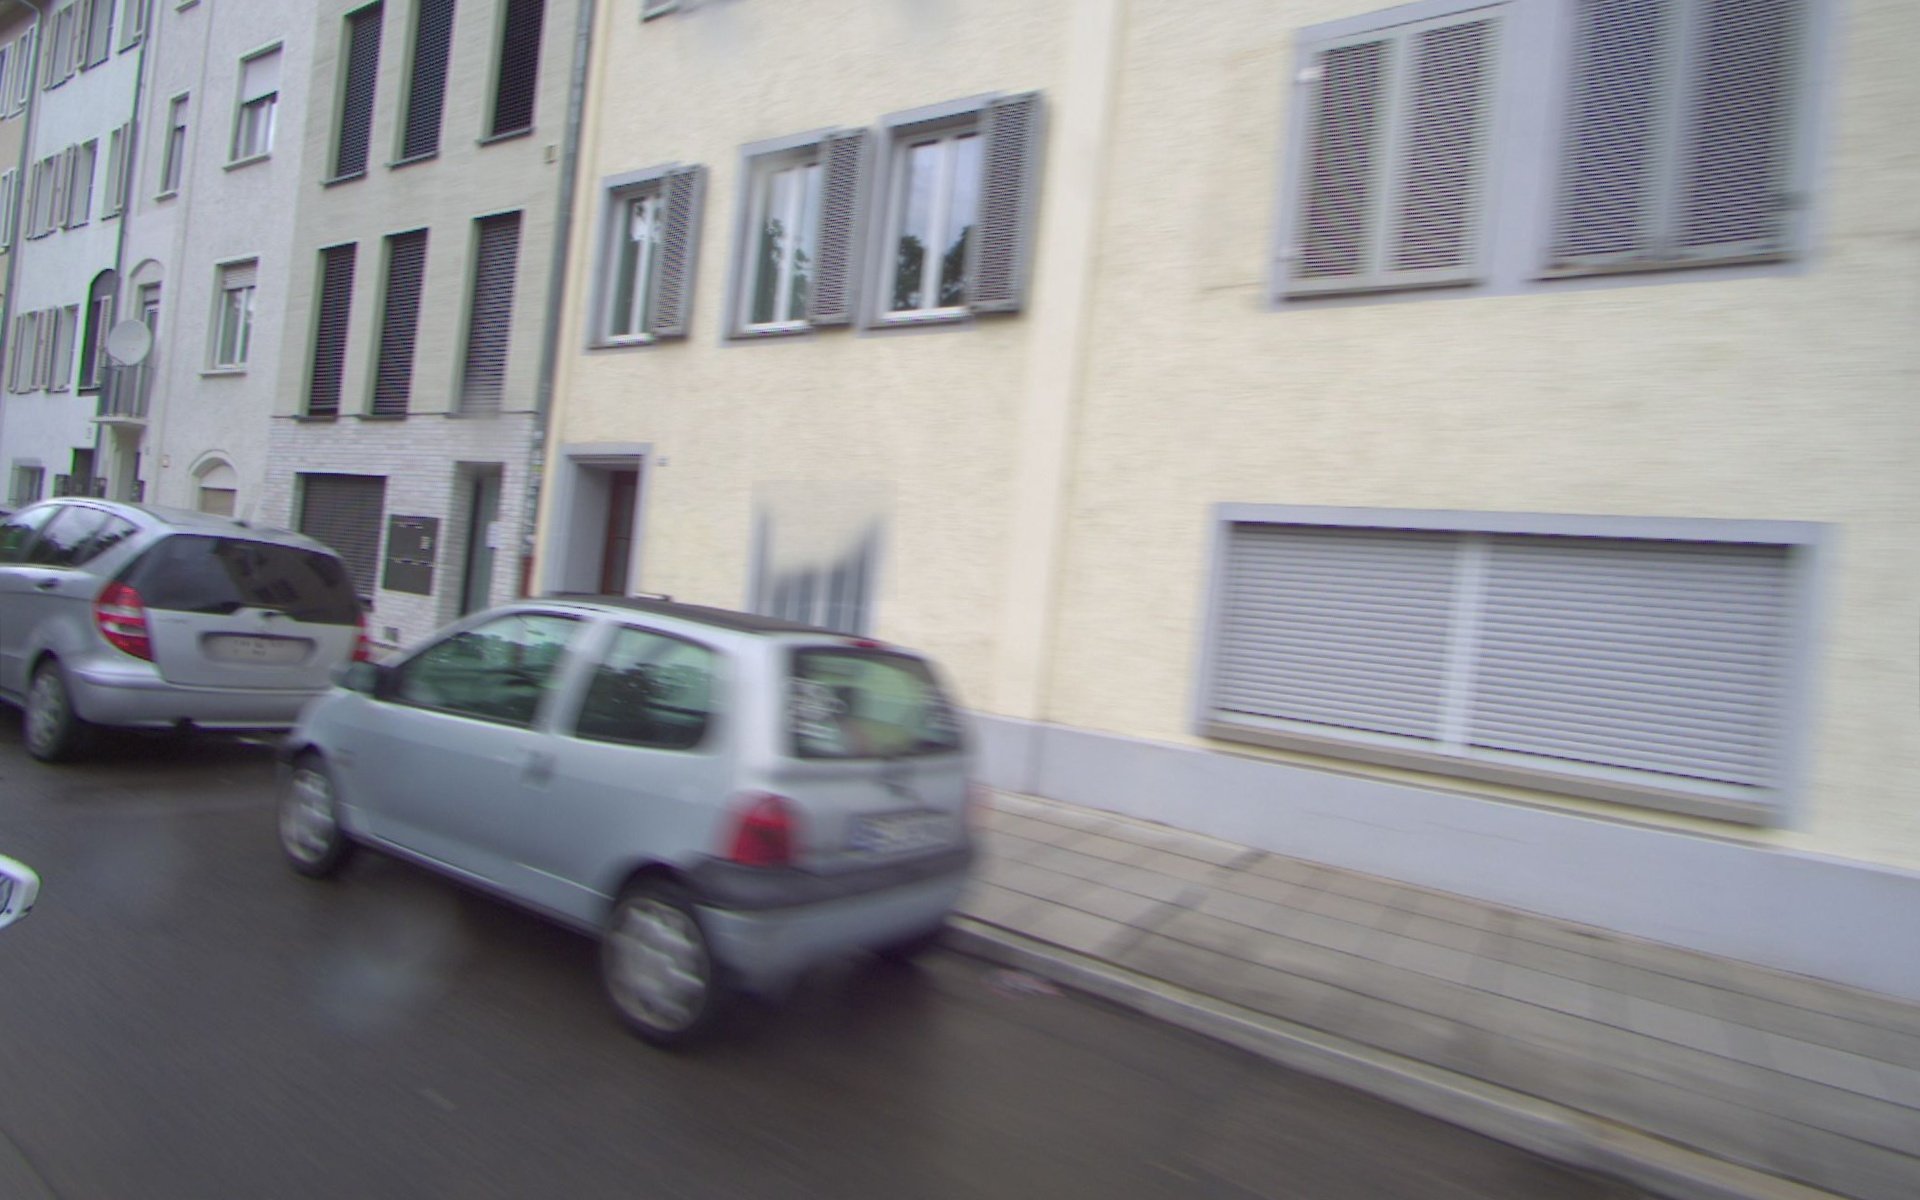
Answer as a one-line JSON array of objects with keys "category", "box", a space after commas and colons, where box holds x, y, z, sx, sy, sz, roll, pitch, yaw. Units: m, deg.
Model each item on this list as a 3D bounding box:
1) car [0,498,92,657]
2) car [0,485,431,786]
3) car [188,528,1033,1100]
[{"category": "car", "box": [-10.585, -0.432, 10.160, 3.779, 1.427, 1.629, 7, -2, 33]}, {"category": "car", "box": [-5.833, 0.120, 7.191, 3.933, 1.542, 1.720, 7, -2, 32]}, {"category": "car", "box": [-1.738, 0.652, 4.651, 3.697, 1.470, 1.562, 7, -2, 32]}]
